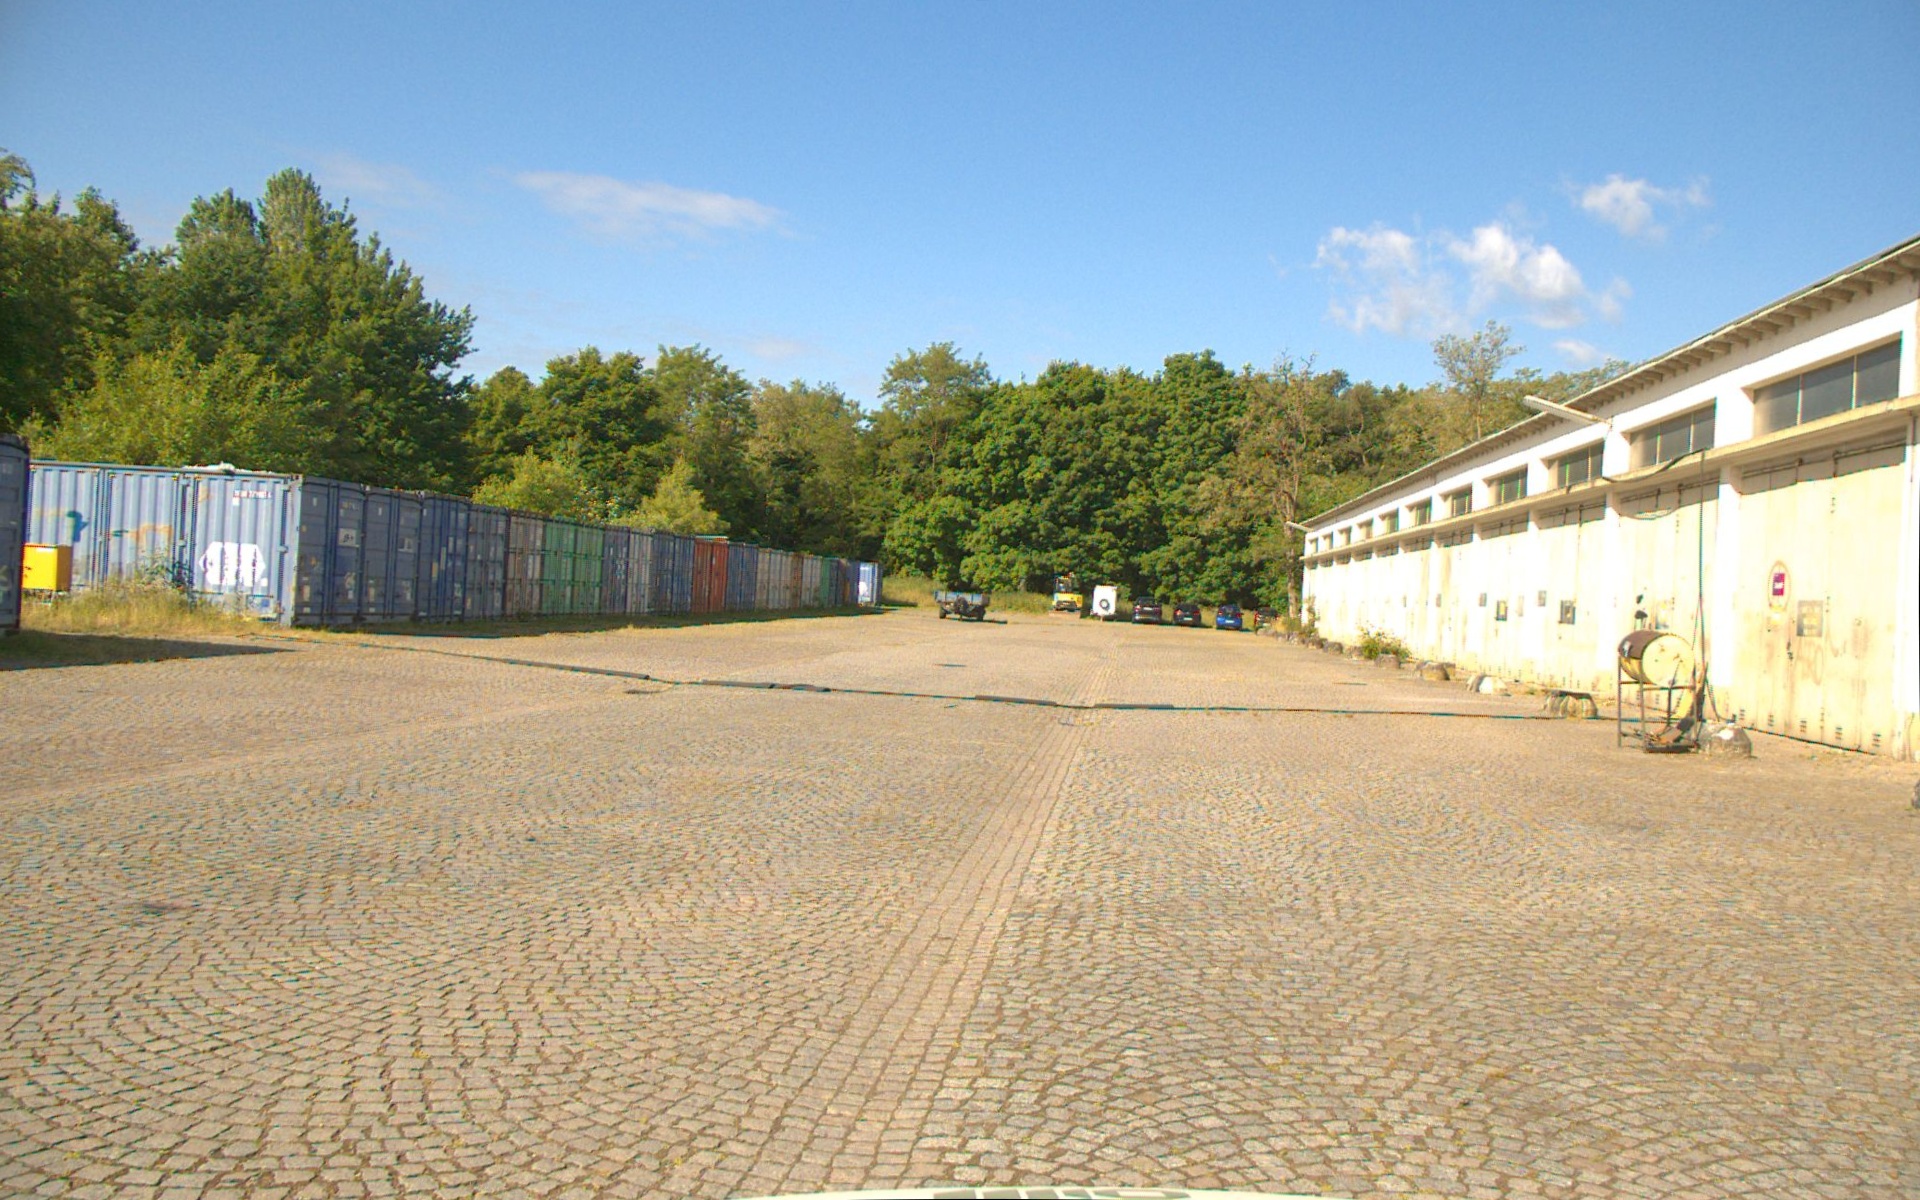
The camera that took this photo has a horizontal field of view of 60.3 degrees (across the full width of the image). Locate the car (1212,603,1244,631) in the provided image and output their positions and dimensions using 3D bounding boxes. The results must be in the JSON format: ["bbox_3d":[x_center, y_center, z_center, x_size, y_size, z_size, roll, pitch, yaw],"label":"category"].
[{"bbox_3d":[16.576,1.054,102.142,1.707,1.461,4.187,5,2,11],"label":"car"}]

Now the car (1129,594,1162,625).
[{"bbox_3d":[11.445,0.562,102.369,1.825,1.616,4.299,5,2,6],"label":"car"}]

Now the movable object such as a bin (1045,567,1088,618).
[{"bbox_3d":[6.854,-0.521,105.843,2.258,2.946,5.756,5,2,7],"label":"movable object such as a bin"}]

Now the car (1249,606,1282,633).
[{"bbox_3d":[19.104,1.214,103.295,1.708,1.461,4.186,5,2,13],"label":"car"}]

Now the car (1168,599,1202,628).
[{"bbox_3d":[13.896,0.822,102.483,1.825,1.495,4.299,5,2,6],"label":"car"}]

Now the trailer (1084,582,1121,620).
[{"bbox_3d":[9.081,0.038,105.012,2.147,2.130,5.755,5,2,6],"label":"trailer"}]

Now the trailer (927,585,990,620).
[{"bbox_3d":[-0.018,0.096,85.746,2.649,1.490,6.251,5,1,4],"label":"trailer"}]
